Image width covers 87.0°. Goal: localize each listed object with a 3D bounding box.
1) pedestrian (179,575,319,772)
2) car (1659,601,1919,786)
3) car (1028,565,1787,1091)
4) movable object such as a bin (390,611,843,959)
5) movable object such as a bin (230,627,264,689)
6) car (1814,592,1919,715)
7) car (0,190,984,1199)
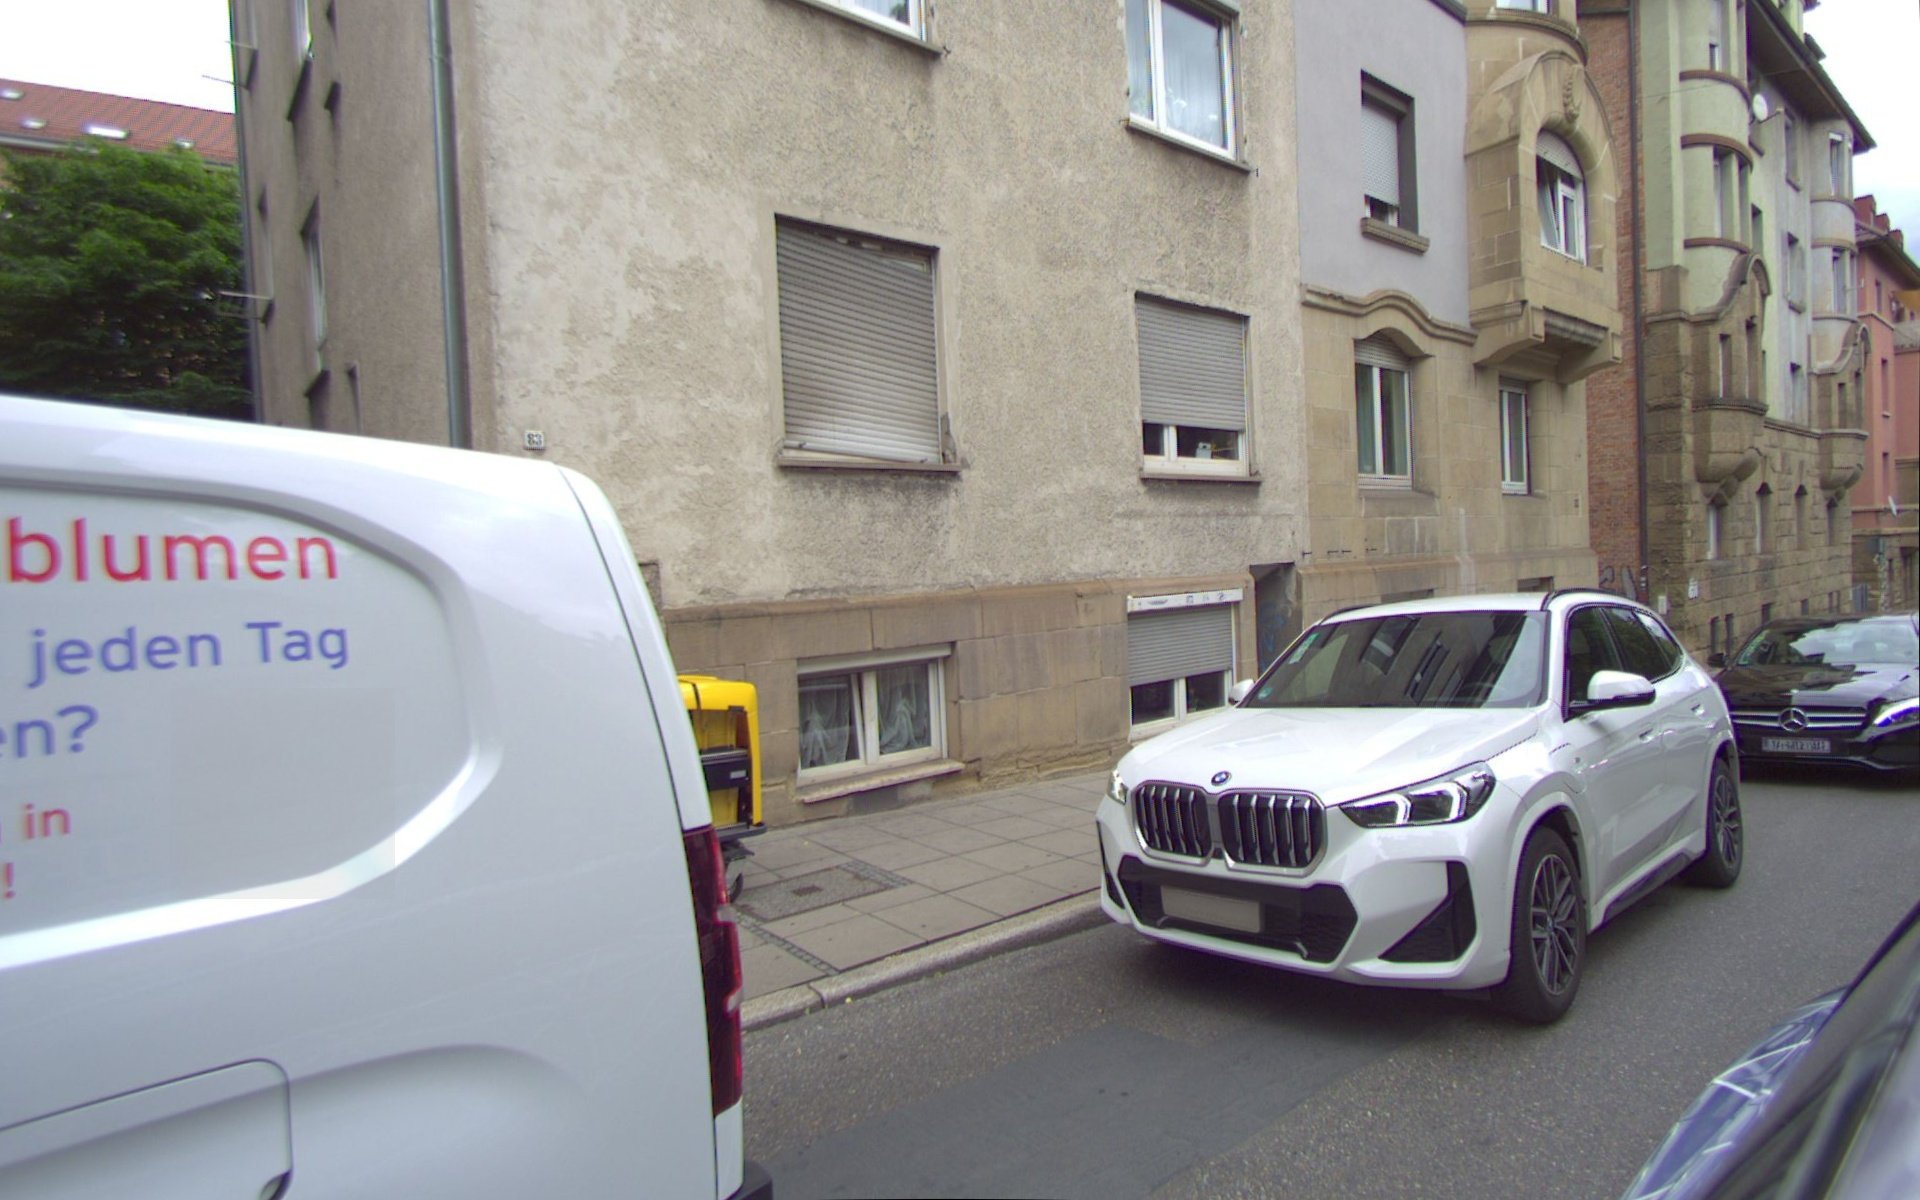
[{"bbox_3d":[-6.569,0.634,9.356,0.808,1.666,0.773,0,6,42],"label":"pedestrian"},{"bbox_3d":[8.472,0.754,9.692,4.132,1.395,1.882,-1,-3,-41],"label":"car"},{"bbox_3d":[2.545,0.723,5.183,4.276,1.576,1.857,-1,-4,-41],"label":"car"},{"bbox_3d":[-1.785,0.796,5.402,1.979,1.391,1.223,-1,2,-43],"label":"movable object such as a bin"},{"bbox_3d":[-10.981,0.887,15.590,0.405,0.923,0.340,0,0,-40],"label":"movable object such as a bin"},{"bbox_3d":[13.559,0.642,13.940,4.226,1.534,1.935,-1,-3,-40],"label":"car"},{"bbox_3d":[-2.327,0.579,0.898,4.597,1.798,1.977,-1,-3,-42],"label":"car"}]
